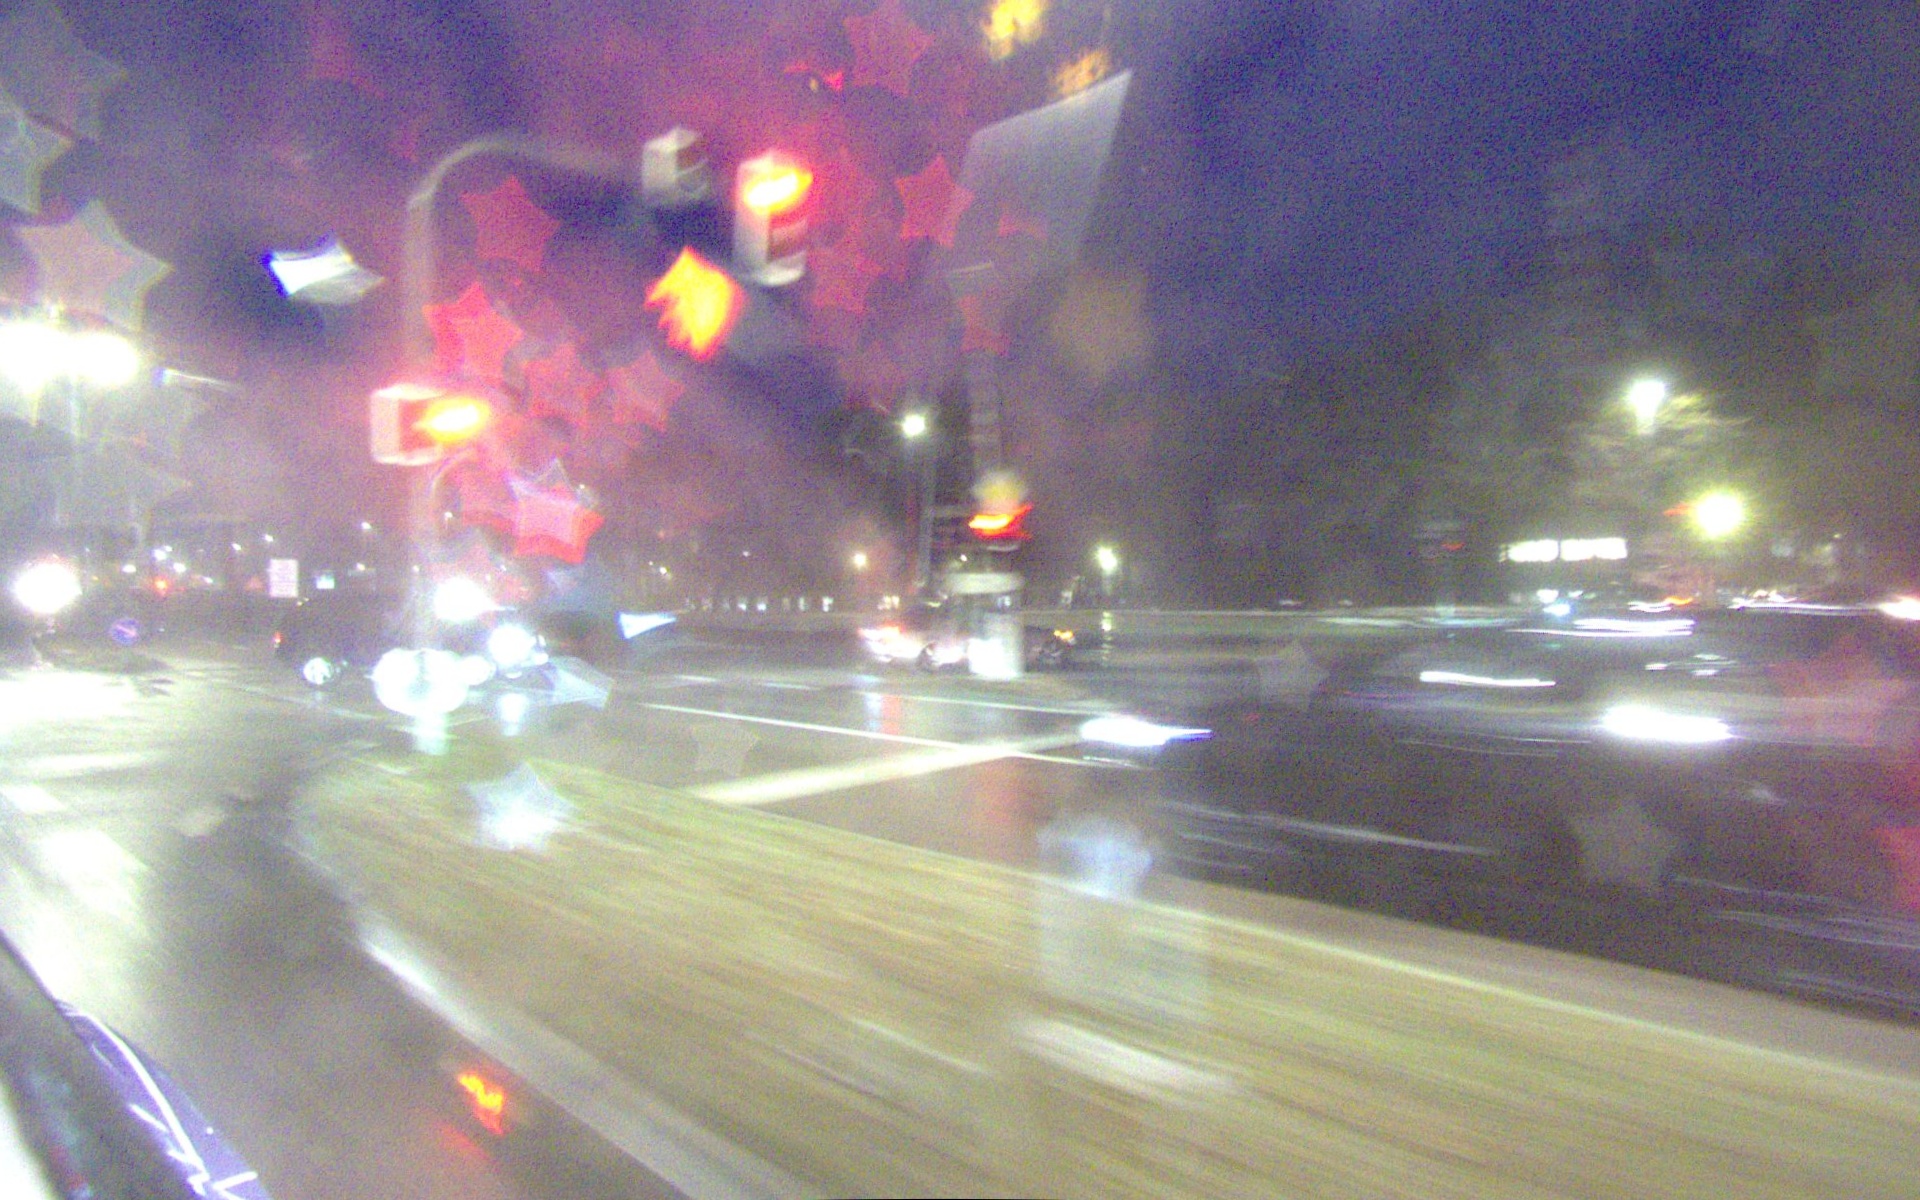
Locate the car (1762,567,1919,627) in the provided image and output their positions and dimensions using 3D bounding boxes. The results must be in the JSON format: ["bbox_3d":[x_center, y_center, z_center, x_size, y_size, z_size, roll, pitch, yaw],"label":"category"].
[{"bbox_3d":[26.950,-0.076,30.415,4.444,1.706,1.827,-1,0,39],"label":"car"}]

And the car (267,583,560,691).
[{"bbox_3d":[-10.112,0.668,18.951,4.465,1.858,1.998,-1,0,4],"label":"car"}]

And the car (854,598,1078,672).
[{"bbox_3d":[0.137,0.688,21.534,4.426,1.375,1.672,-1,1,-23],"label":"car"}]

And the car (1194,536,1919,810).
[{"bbox_3d":[4.752,0.436,8.029,5.157,1.568,2.334,-1,0,42],"label":"car"}]

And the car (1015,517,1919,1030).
[{"bbox_3d":[2.849,0.567,5.002,5.010,1.711,1.973,0,1,41],"label":"car"}]

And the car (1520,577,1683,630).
[{"bbox_3d":[20.732,0.134,32.886,3.960,1.603,1.992,-1,0,13],"label":"car"}]
